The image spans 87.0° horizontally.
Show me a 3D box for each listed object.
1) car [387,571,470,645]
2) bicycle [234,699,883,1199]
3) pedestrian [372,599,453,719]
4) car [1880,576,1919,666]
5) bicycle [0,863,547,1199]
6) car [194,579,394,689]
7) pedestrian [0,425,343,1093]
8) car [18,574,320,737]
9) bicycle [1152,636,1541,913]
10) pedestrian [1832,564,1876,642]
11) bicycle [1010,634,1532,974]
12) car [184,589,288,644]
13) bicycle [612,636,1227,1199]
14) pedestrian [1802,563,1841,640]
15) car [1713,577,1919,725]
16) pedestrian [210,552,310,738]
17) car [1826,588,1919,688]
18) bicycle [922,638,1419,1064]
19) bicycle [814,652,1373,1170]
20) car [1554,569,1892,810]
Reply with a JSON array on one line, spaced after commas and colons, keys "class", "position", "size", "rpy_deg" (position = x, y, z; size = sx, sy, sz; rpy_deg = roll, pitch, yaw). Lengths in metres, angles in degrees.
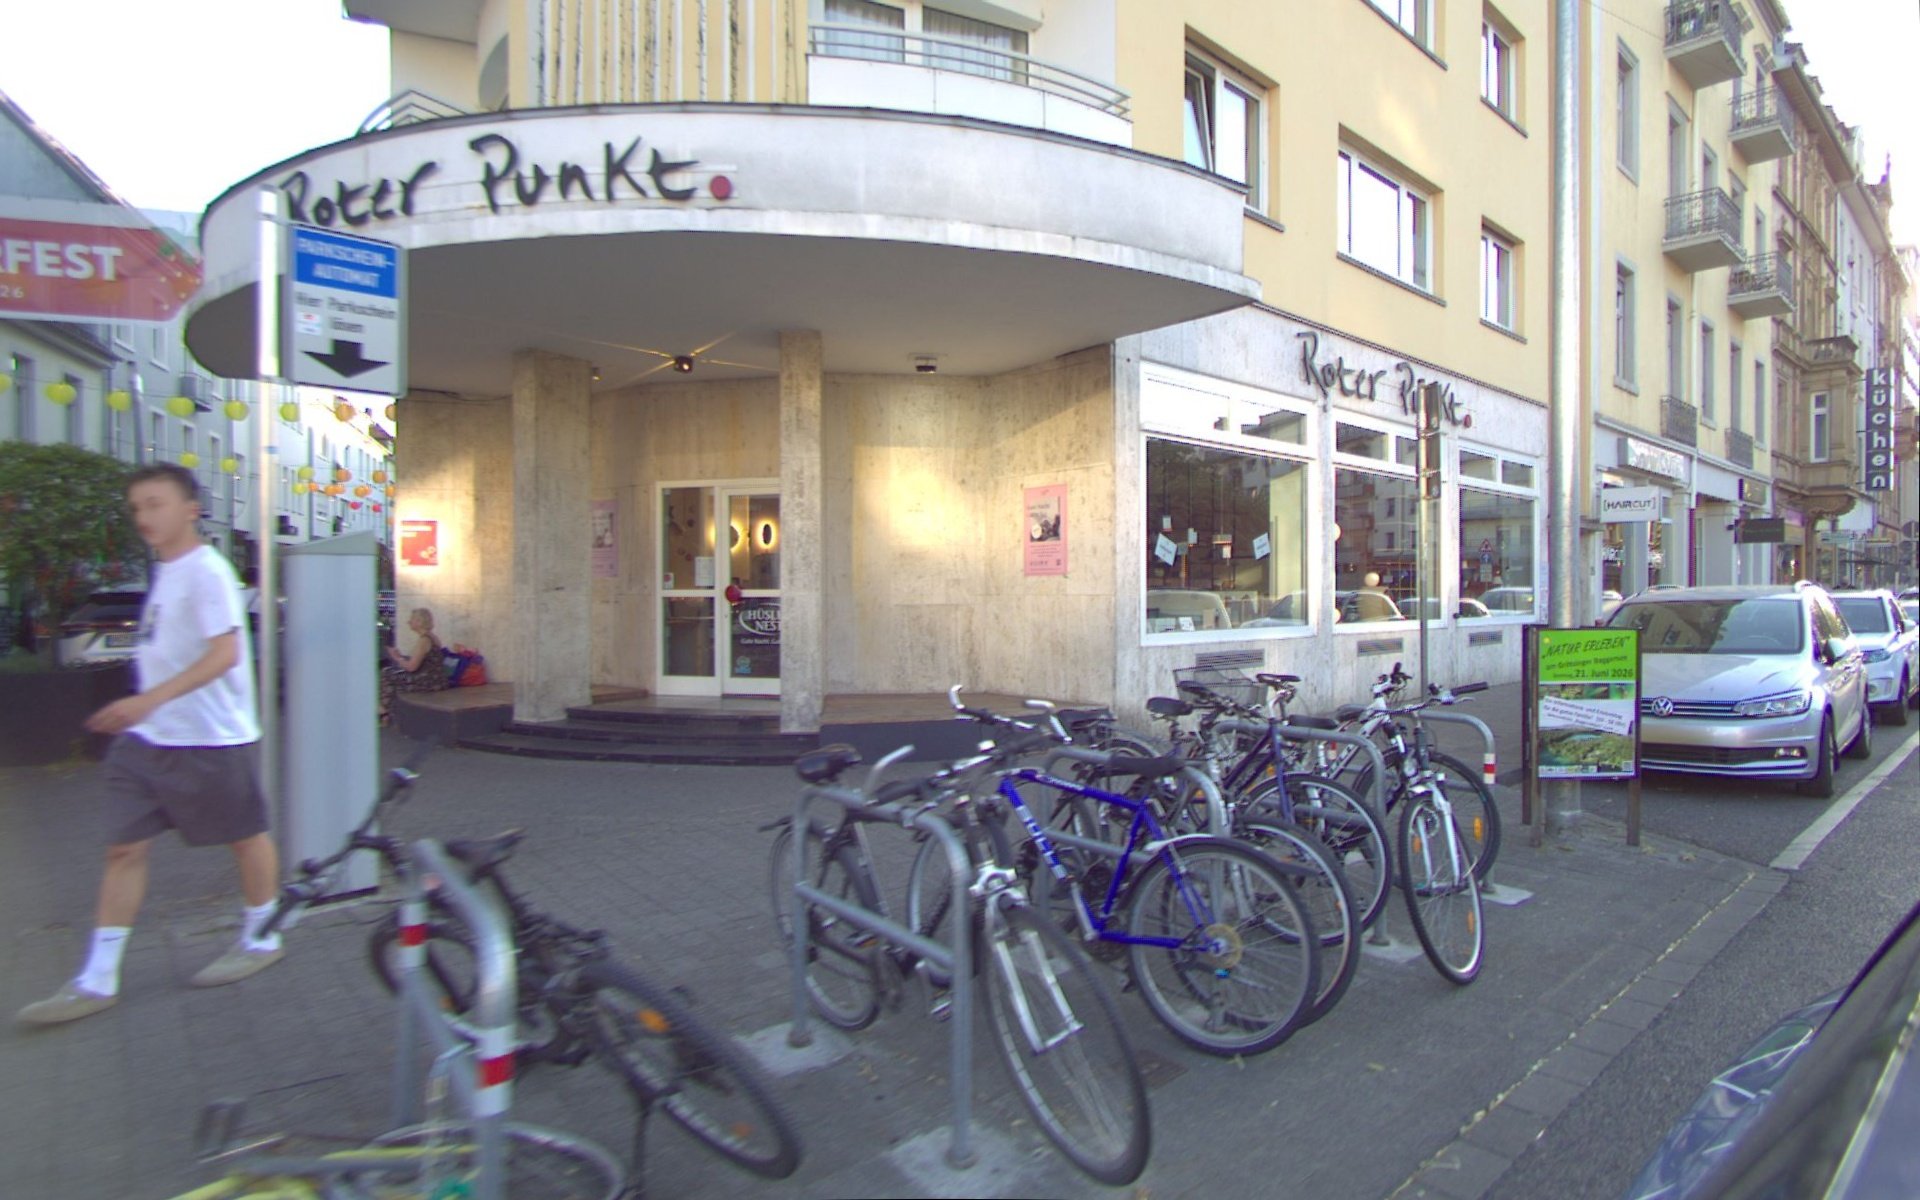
[{"class": "car", "position": [-16.376, 0.196, 31.363], "size": [1.878, 2.109, 4.008], "rpy_deg": [0, 1, -22]}, {"class": "bicycle", "position": [-1.091, 0.896, 2.526], "size": [1.778, 1.077, 0.709], "rpy_deg": [2, 2, 38]}, {"class": "pedestrian", "position": [-5.696, 0.590, 10.560], "size": [0.691, 1.200, 0.638], "rpy_deg": [-1, 0, -24]}, {"class": "car", "position": [20.015, 0.369, 20.255], "size": [4.353, 1.695, 1.875], "rpy_deg": [-1, 0, -41]}, {"class": "bicycle", "position": [-1.542, 1.055, 1.965], "size": [1.003, 0.690, 1.035], "rpy_deg": [1, 1, 40]}, {"class": "car", "position": [-11.130, 0.472, 17.272], "size": [1.905, 1.605, 4.451], "rpy_deg": [0, 1, -21]}, {"class": "pedestrian", "position": [-2.652, 0.427, 3.363], "size": [0.857, 1.839, 0.824], "rpy_deg": [-1, 1, -45]}, {"class": "car", "position": [-9.224, 0.518, 12.217], "size": [1.797, 1.612, 3.997], "rpy_deg": [0, 1, -21]}, {"class": "bicycle", "position": [1.986, 0.822, 5.380], "size": [1.840, 1.137, 0.587], "rpy_deg": [2, 2, 38]}, {"class": "pedestrian", "position": [23.855, 0.070, 26.996], "size": [0.836, 2.039, 0.763], "rpy_deg": [0, 0, -41]}, {"class": "bicycle", "position": [1.316, 0.766, 4.654], "size": [2.168, 1.089, 0.794], "rpy_deg": [2, 2, 42]}, {"class": "car", "position": [-22.645, 0.478, 31.808], "size": [1.598, 1.605, 3.661], "rpy_deg": [0, 0, -18]}, {"class": "bicycle", "position": [-0.241, 0.775, 2.833], "size": [1.843, 1.255, 0.629], "rpy_deg": [1, 1, 44]}, {"class": "pedestrian", "position": [23.225, 0.042, 27.276], "size": [0.836, 2.039, 0.673], "rpy_deg": [0, 0, -41]}, {"class": "car", "position": [11.501, 0.538, 13.240], "size": [4.130, 1.641, 1.820], "rpy_deg": [-1, 0, -41]}, {"class": "pedestrian", "position": [-6.706, 0.406, 9.726], "size": [0.741, 1.690, 0.733], "rpy_deg": [-1, 0, -32]}, {"class": "car", "position": [15.777, 0.542, 16.614], "size": [4.530, 1.475, 1.736], "rpy_deg": [-1, 0, -41]}, {"class": "bicycle", "position": [0.733, 0.800, 3.896], "size": [1.778, 1.187, 0.614], "rpy_deg": [2, 1, 38]}, {"class": "bicycle", "position": [0.358, 0.837, 3.379], "size": [1.778, 1.187, 0.614], "rpy_deg": [2, 1, 38]}, {"class": "car", "position": [7.007, 0.581, 9.085], "size": [4.605, 1.637, 1.699], "rpy_deg": [-1, 0, -44]}]
